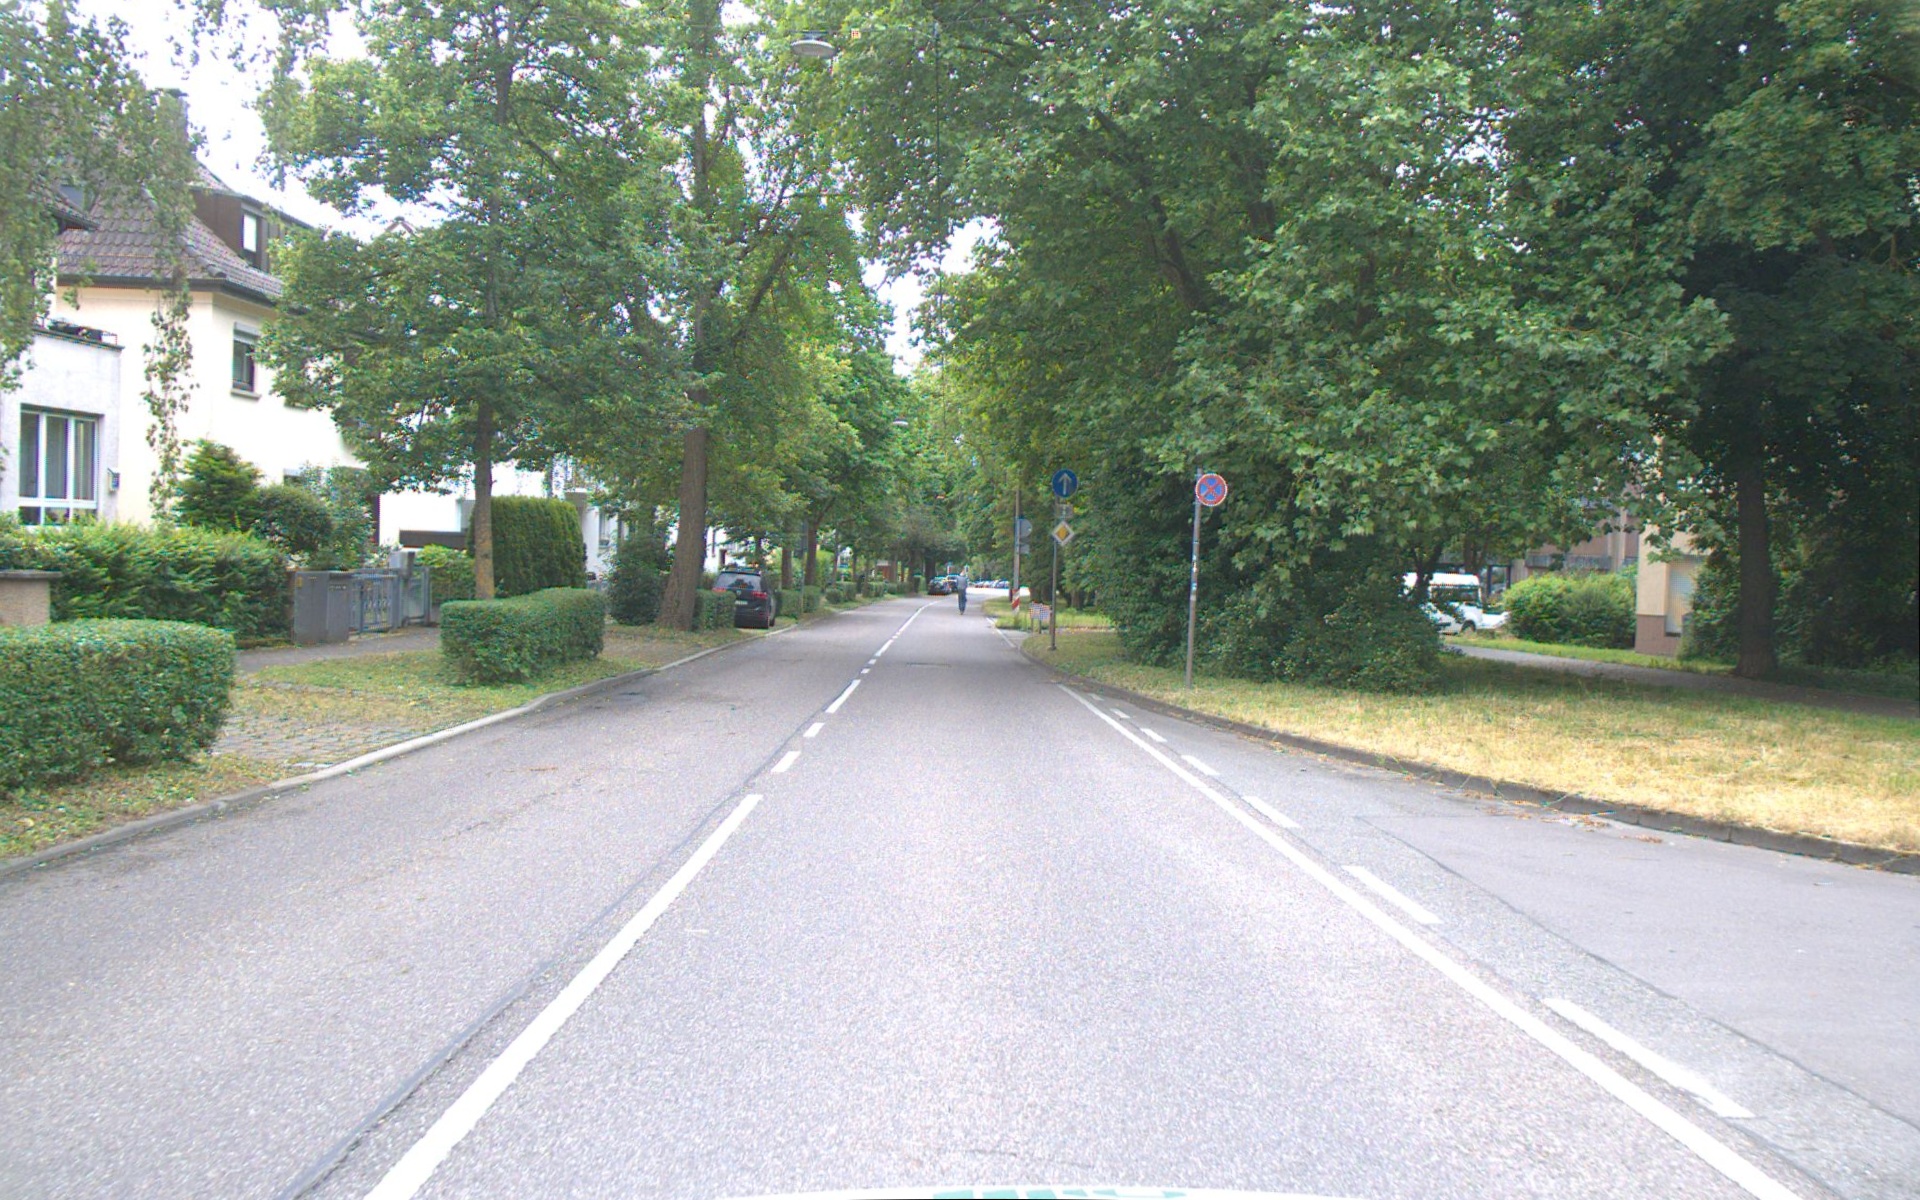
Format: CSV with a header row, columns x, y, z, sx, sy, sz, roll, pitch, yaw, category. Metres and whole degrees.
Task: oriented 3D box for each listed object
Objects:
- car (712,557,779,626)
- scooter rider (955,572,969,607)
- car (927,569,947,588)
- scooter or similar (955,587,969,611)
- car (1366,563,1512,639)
x,y,z,sx,sy,sz,roll,pitch,yaw,category
-6.230,-0.290,48.325,1.610,1.754,3.798,4,2,-4,car
0.080,-0.478,76.270,0.588,1.579,0.566,1,2,2,scooter rider
-2.163,-2.063,155.955,1.797,1.524,3.656,5,2,-1,car
0.077,-0.035,76.297,0.588,1.073,0.873,1,2,2,scooter or similar
17.362,0.054,59.863,5.324,2.336,2.112,3,3,-36,car
